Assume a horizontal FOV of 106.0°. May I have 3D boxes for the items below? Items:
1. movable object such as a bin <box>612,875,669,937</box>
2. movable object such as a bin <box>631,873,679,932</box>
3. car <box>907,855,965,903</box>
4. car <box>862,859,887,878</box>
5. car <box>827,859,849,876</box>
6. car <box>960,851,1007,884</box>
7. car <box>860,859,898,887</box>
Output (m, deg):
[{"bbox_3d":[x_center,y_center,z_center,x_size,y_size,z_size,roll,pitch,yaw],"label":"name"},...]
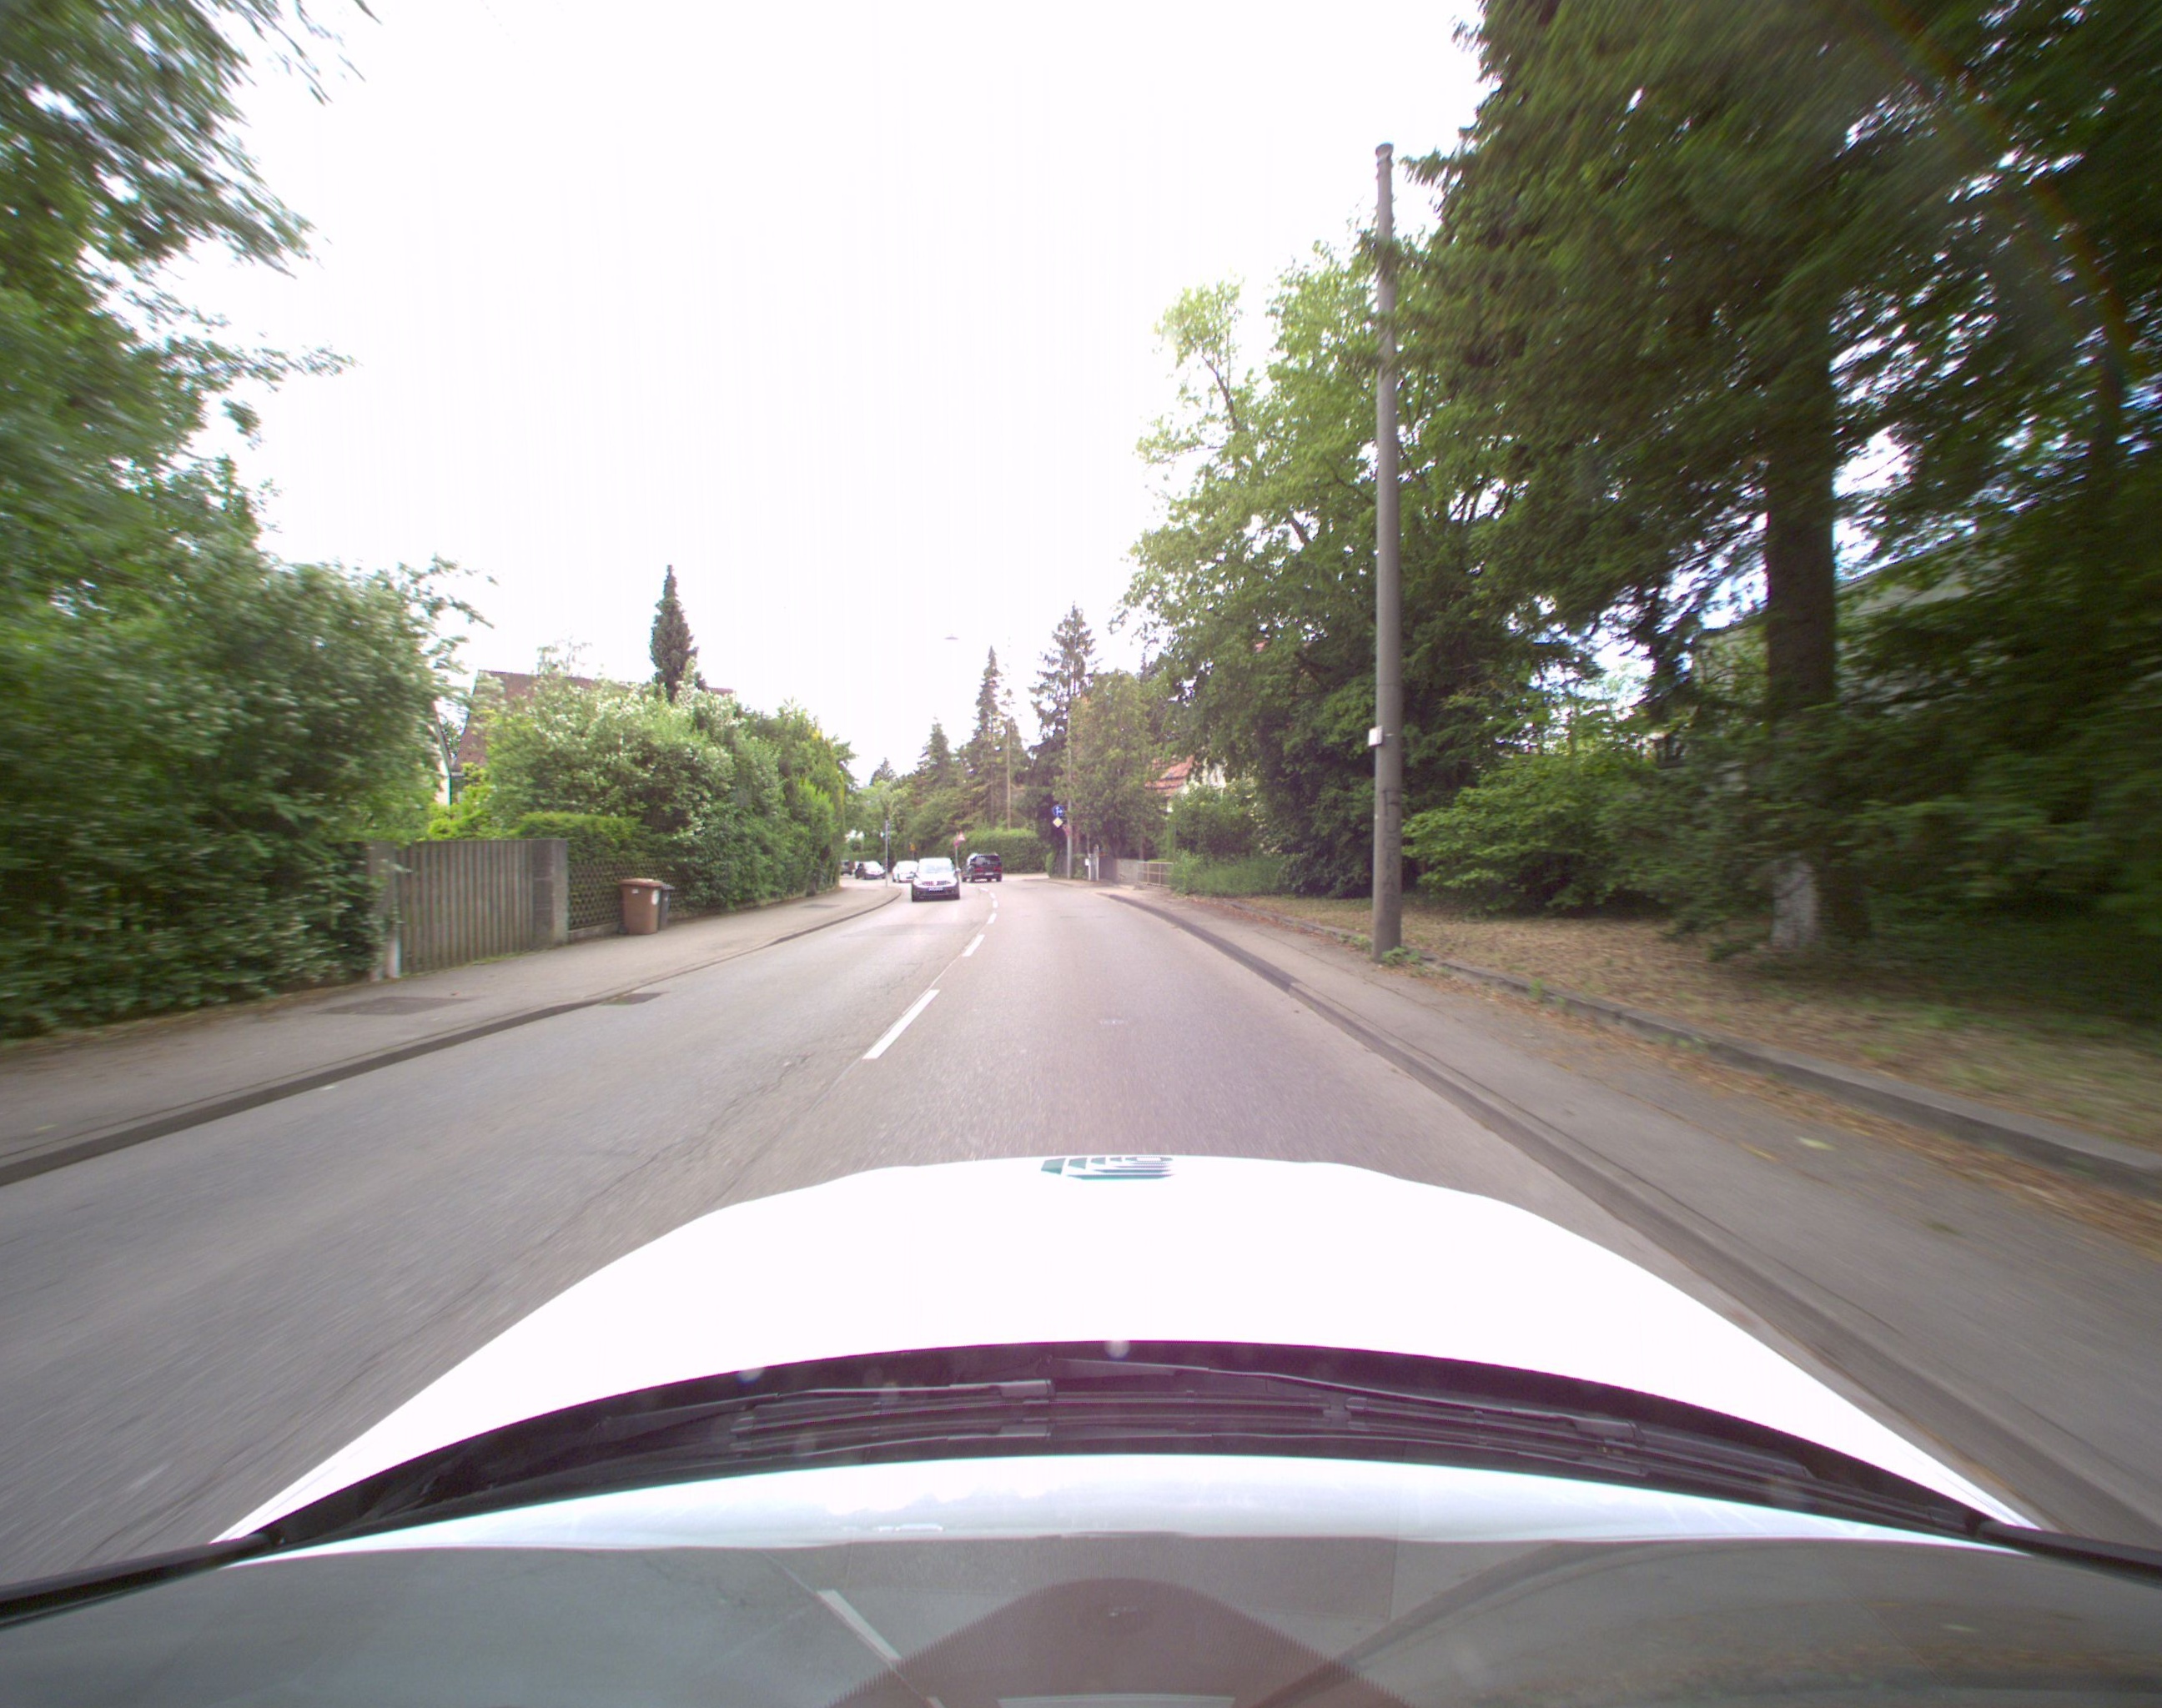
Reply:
[{"bbox_3d":[-8.473,0.987,15.701,0.739,1.141,0.645,1,0,-5],"label":"movable object such as a bin"},{"bbox_3d":[-8.612,0.971,16.470,0.628,1.145,0.645,1,0,-5],"label":"movable object such as a bin"},{"bbox_3d":[-5.485,0.881,31.081,1.993,1.618,3.988,-2,0,-9],"label":"car"},{"bbox_3d":[-16.844,1.151,66.305,1.917,1.398,3.888,-2,0,-15],"label":"car"},{"bbox_3d":[-25.568,1.400,85.552,1.900,1.706,3.972,0,-1,-21],"label":"car"},{"bbox_3d":[-6.014,0.772,49.995,2.001,1.881,3.973,0,1,-20],"label":"car"},{"bbox_3d":[-11.606,1.055,47.014,1.903,1.454,3.781,-4,0,-11],"label":"car"}]
